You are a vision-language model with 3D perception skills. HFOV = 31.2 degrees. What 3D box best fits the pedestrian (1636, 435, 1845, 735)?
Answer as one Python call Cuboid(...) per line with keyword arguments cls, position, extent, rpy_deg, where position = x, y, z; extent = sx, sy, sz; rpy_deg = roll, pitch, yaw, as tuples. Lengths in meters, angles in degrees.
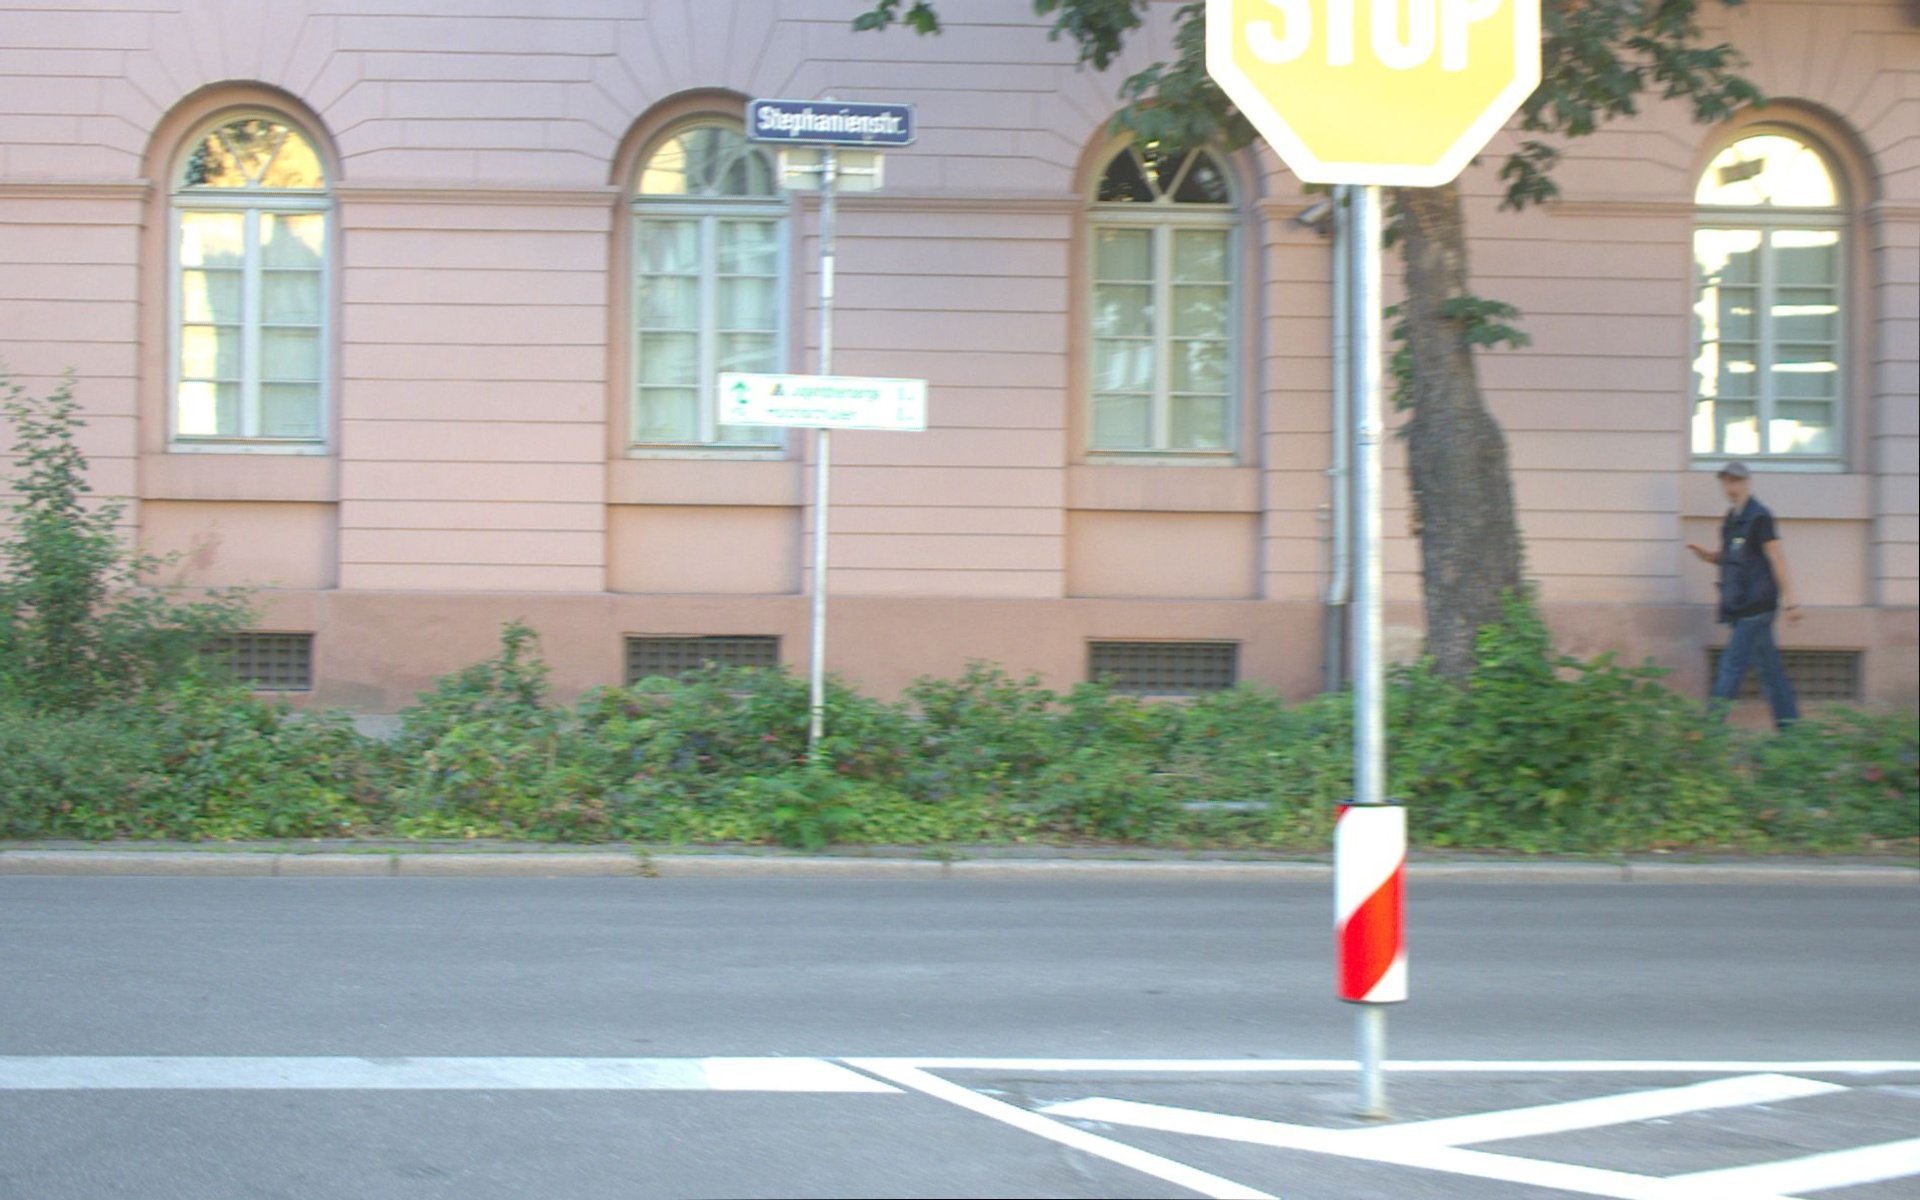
Cuboid(cls="pedestrian", position=(4.882, -0.099, 21.557), extent=(1.079, 1.832, 0.801), rpy_deg=(1, 1, -2))
